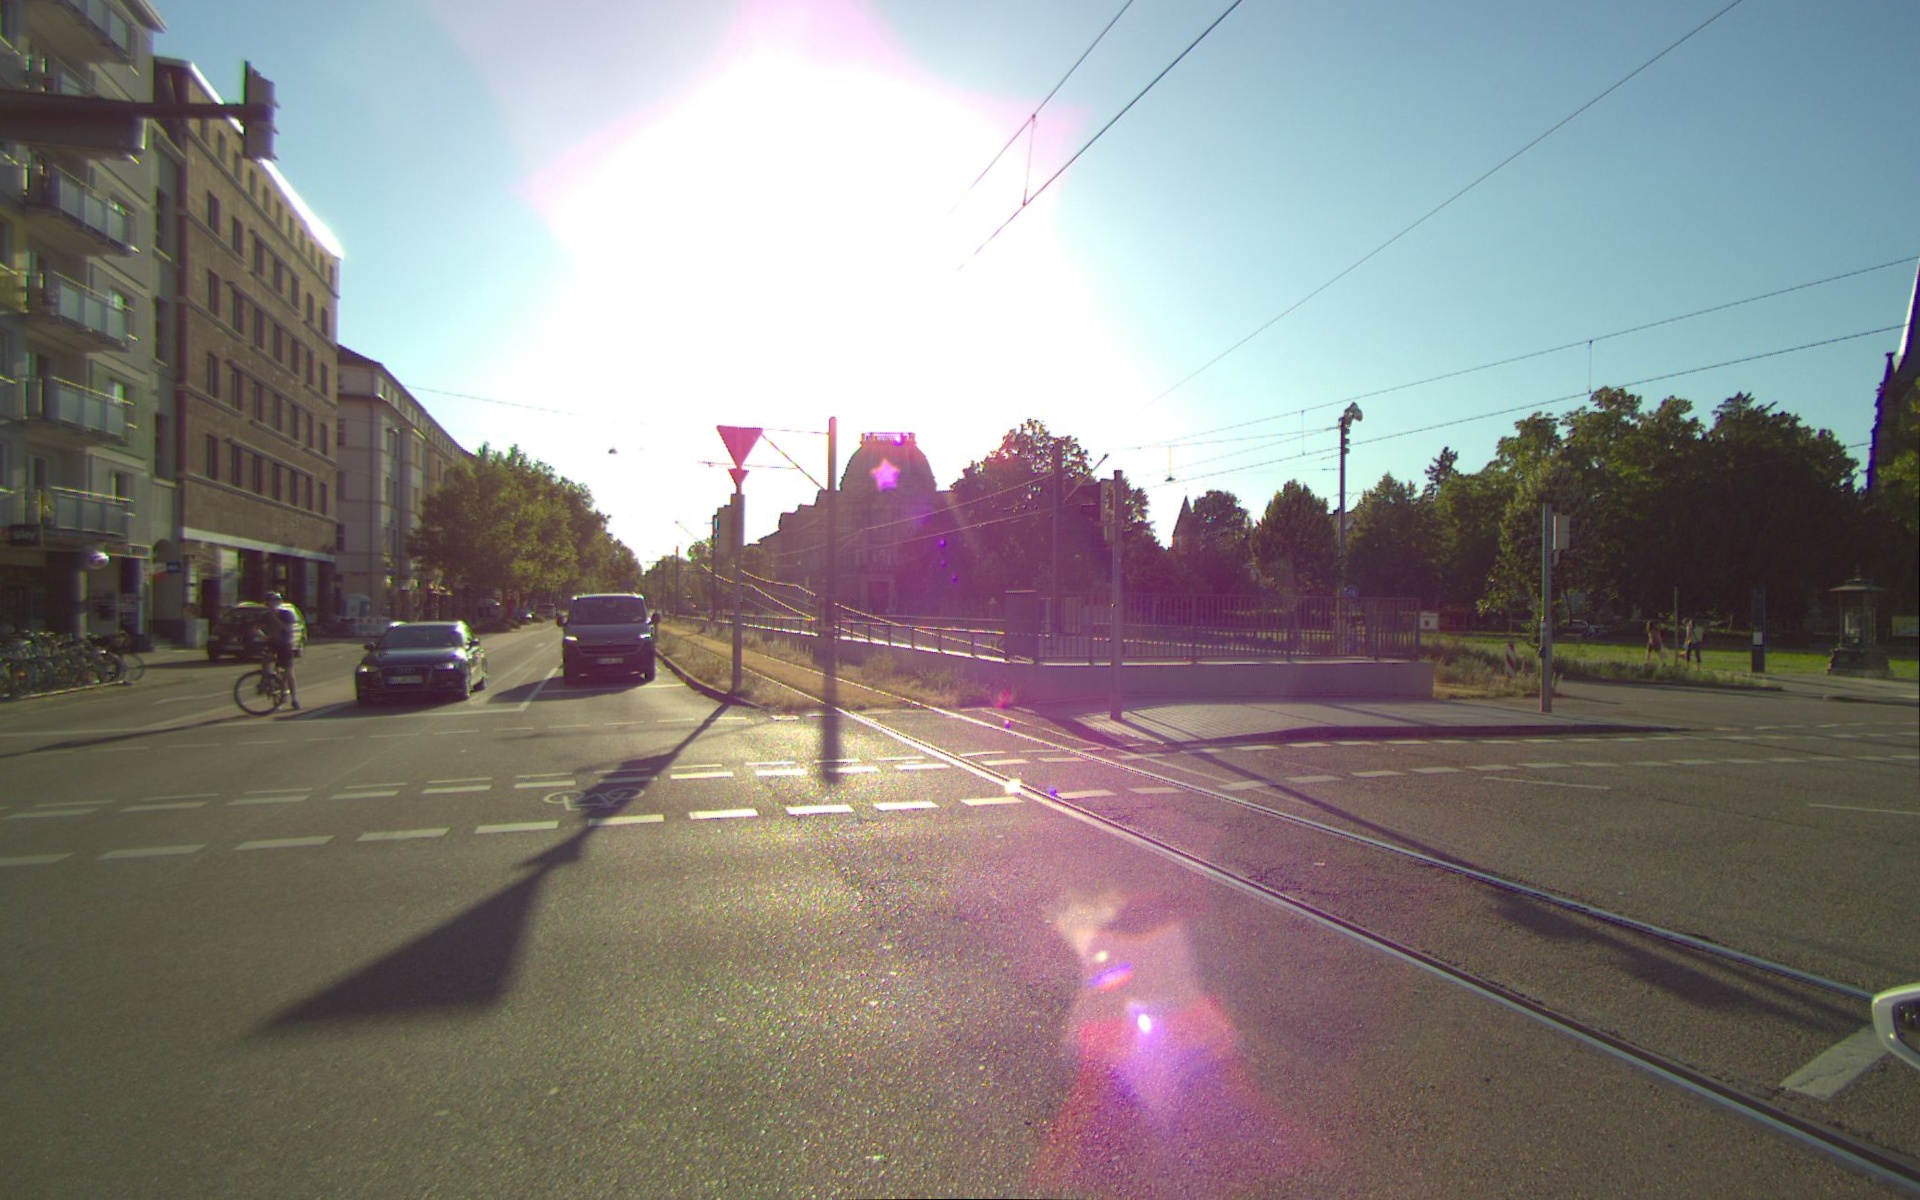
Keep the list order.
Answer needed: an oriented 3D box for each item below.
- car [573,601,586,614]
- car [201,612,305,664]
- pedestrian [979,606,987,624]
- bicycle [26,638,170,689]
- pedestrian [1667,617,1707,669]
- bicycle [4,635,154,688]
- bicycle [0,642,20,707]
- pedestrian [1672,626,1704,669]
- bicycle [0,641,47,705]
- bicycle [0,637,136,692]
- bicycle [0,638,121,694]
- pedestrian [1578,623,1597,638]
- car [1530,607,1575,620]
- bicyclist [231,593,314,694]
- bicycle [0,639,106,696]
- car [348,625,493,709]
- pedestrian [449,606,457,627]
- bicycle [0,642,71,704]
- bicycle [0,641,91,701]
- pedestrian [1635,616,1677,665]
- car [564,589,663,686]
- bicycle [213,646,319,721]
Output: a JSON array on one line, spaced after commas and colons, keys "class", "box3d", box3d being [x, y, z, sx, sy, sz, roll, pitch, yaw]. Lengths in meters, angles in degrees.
[{"class": "car", "box3d": [-68.608, 1.342, 181.063, 1.969, 2.274, 3.982, 1, 0, -20]}, {"class": "car", "box3d": [-22.200, 1.142, 31.697, 1.670, 1.528, 3.981, 1, -1, -20]}, {"class": "pedestrian", "box3d": [2.441, 1.589, 105.583, 0.674, 1.847, 0.533, 1, 0, -15]}, {"class": "bicycle", "box3d": [-18.824, 1.368, 21.991, 2.264, 1.065, 0.734, 1, -1, -19]}, {"class": "pedestrian", "box3d": [25.144, 1.478, 34.756, 0.696, 1.719, 0.896, 1, 1, 2]}, {"class": "bicycle", "box3d": [-18.569, 1.290, 21.231, 2.264, 1.065, 0.734, 1, -1, -19]}, {"class": "bicycle", "box3d": [-17.027, 1.225, 16.452, 2.264, 1.065, 0.734, 1, -1, -19]}, {"class": "pedestrian", "box3d": [30.138, 1.952, 41.582, 0.999, 1.719, 0.842, 1, 1, 34]}, {"class": "bicycle", "box3d": [-17.243, 1.247, 17.194, 2.264, 1.065, 0.734, 1, -1, -19]}, {"class": "bicycle", "box3d": [-18.333, 1.296, 20.477, 2.264, 1.065, 0.644, 1, -1, -19]}, {"class": "bicycle", "box3d": [-18.166, 1.299, 19.920, 2.264, 1.065, 0.560, 1, 0, -19]}, {"class": "pedestrian", "box3d": [43.418, 2.127, 69.511, 1.164, 0.966, 0.795, 0, 1, -39]}, {"class": "car", "box3d": [72.910, 1.663, 123.639, 1.976, 1.592, 4.430, 1, -1, -29]}, {"class": "bicyclist", "box3d": [-11.365, 0.709, 16.631, 0.948, 1.619, 0.735, 0, -1, -18]}, {"class": "bicycle", "box3d": [-17.982, 1.288, 19.359, 2.264, 1.065, 0.560, 1, 0, -19]}, {"class": "car", "box3d": [-9.972, 1.160, 18.860, 1.774, 1.330, 4.182, 1, -1, -20]}, {"class": "pedestrian", "box3d": [-41.561, 1.374, 82.329, 0.484, 1.731, 0.547, 1, 0, -19]}, {"class": "bicycle", "box3d": [-17.494, 1.301, 17.957, 2.264, 1.065, 0.734, 1, -1, -19]}, {"class": "bicycle", "box3d": [-17.783, 1.313, 18.716, 2.264, 1.065, 0.734, 1, -1, -19]}, {"class": "pedestrian", "box3d": [25.322, 1.462, 36.560, 0.828, 1.719, 1.017, 1, 1, 2]}, {"class": "car", "box3d": [-8.228, 0.828, 23.818, 1.970, 2.040, 4.917, 1, -1, -20]}, {"class": "bicycle", "box3d": [-11.288, 1.327, 16.410, 0.936, 1.112, 1.776, 0, -1, -18]}]
